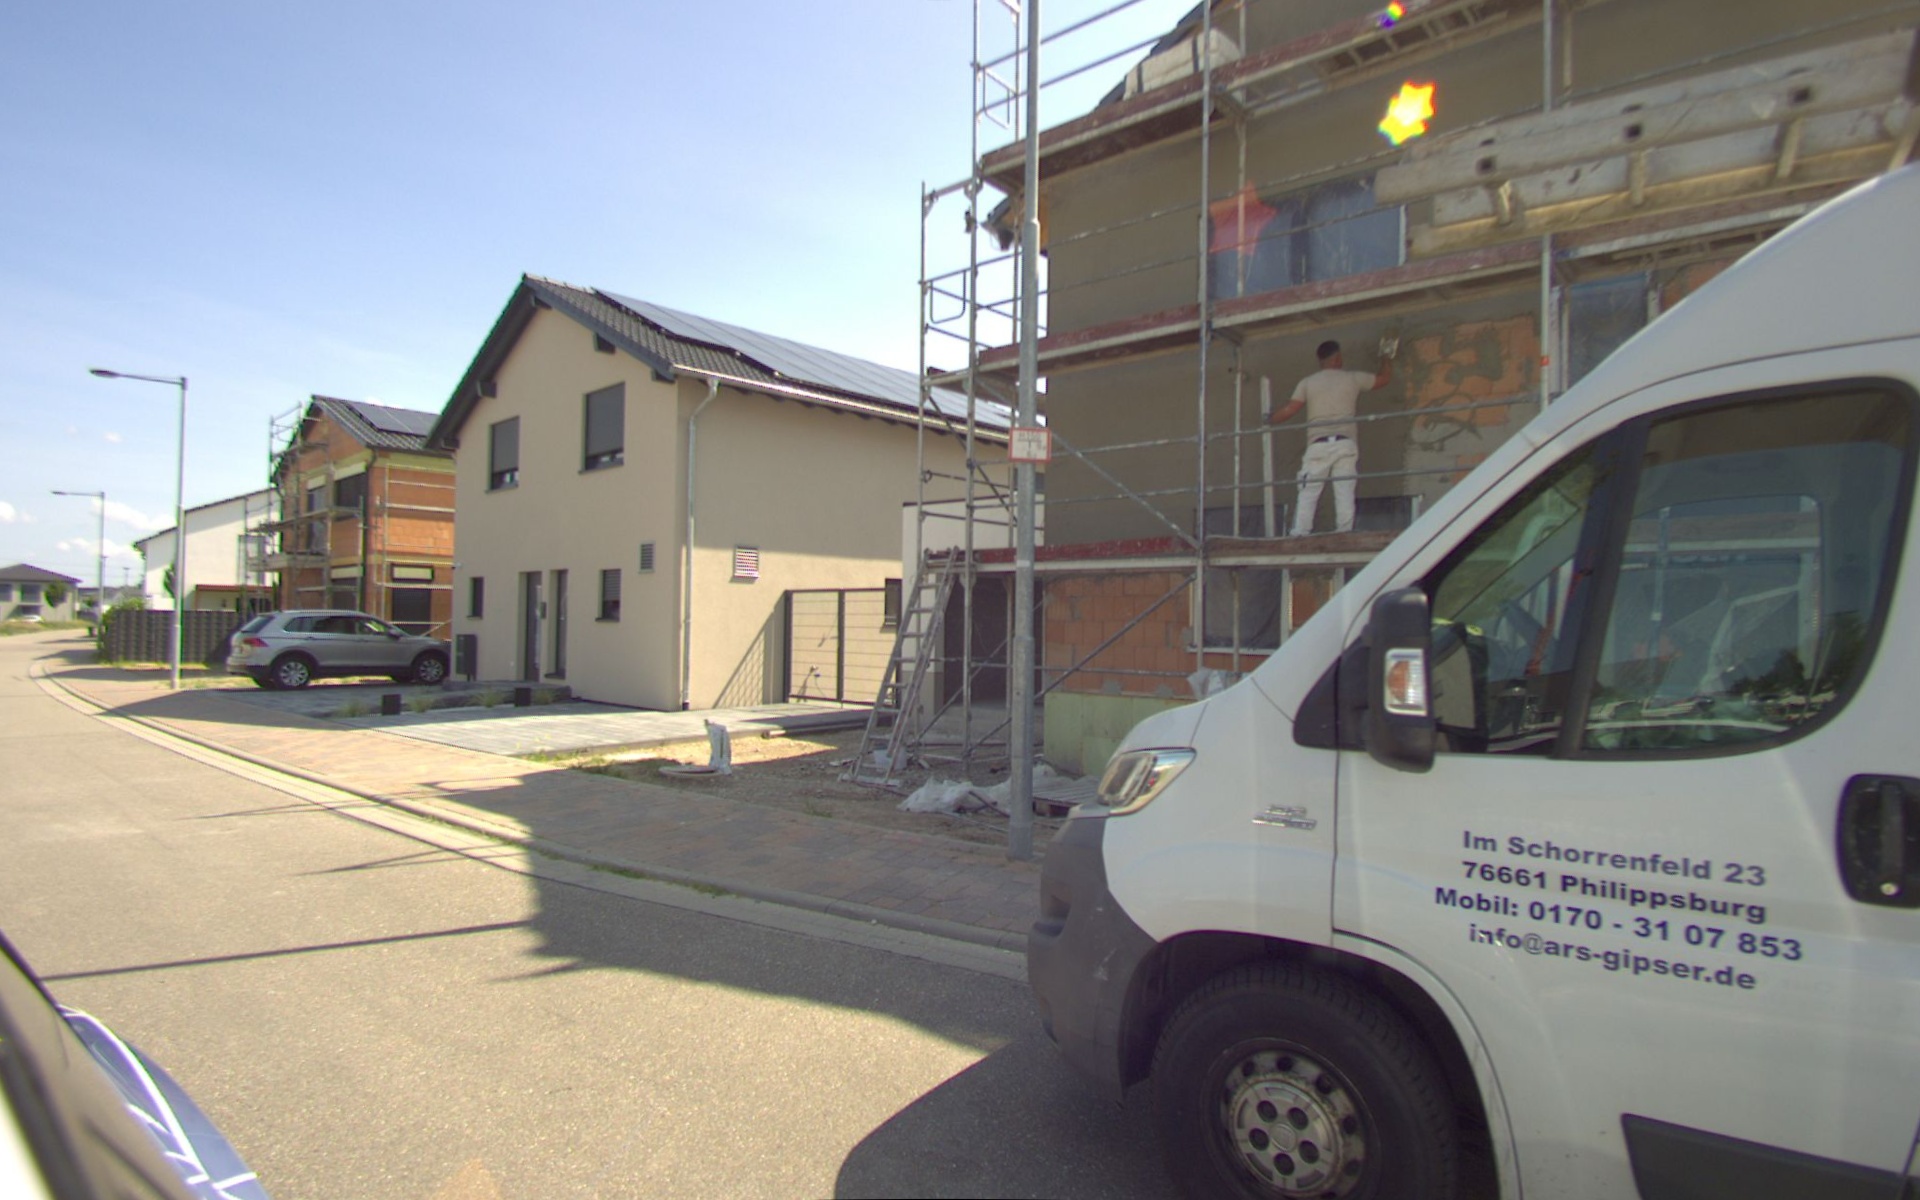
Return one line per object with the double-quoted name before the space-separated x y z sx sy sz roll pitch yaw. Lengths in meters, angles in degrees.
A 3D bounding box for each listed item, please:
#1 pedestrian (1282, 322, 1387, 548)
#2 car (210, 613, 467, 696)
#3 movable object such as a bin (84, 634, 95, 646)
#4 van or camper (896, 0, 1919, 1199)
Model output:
"pedestrian" 3.077 -1.300 8.301 0.577 1.692 0.739 1 -1 37
"car" -13.444 1.166 22.099 1.999 1.624 4.378 -1 -3 41
"movable object such as a bin" -66.492 3.028 77.308 0.588 0.928 0.463 2 -2 -35
"van or camper" 3.073 0.172 1.895 6.353 2.573 2.253 0 -2 35
